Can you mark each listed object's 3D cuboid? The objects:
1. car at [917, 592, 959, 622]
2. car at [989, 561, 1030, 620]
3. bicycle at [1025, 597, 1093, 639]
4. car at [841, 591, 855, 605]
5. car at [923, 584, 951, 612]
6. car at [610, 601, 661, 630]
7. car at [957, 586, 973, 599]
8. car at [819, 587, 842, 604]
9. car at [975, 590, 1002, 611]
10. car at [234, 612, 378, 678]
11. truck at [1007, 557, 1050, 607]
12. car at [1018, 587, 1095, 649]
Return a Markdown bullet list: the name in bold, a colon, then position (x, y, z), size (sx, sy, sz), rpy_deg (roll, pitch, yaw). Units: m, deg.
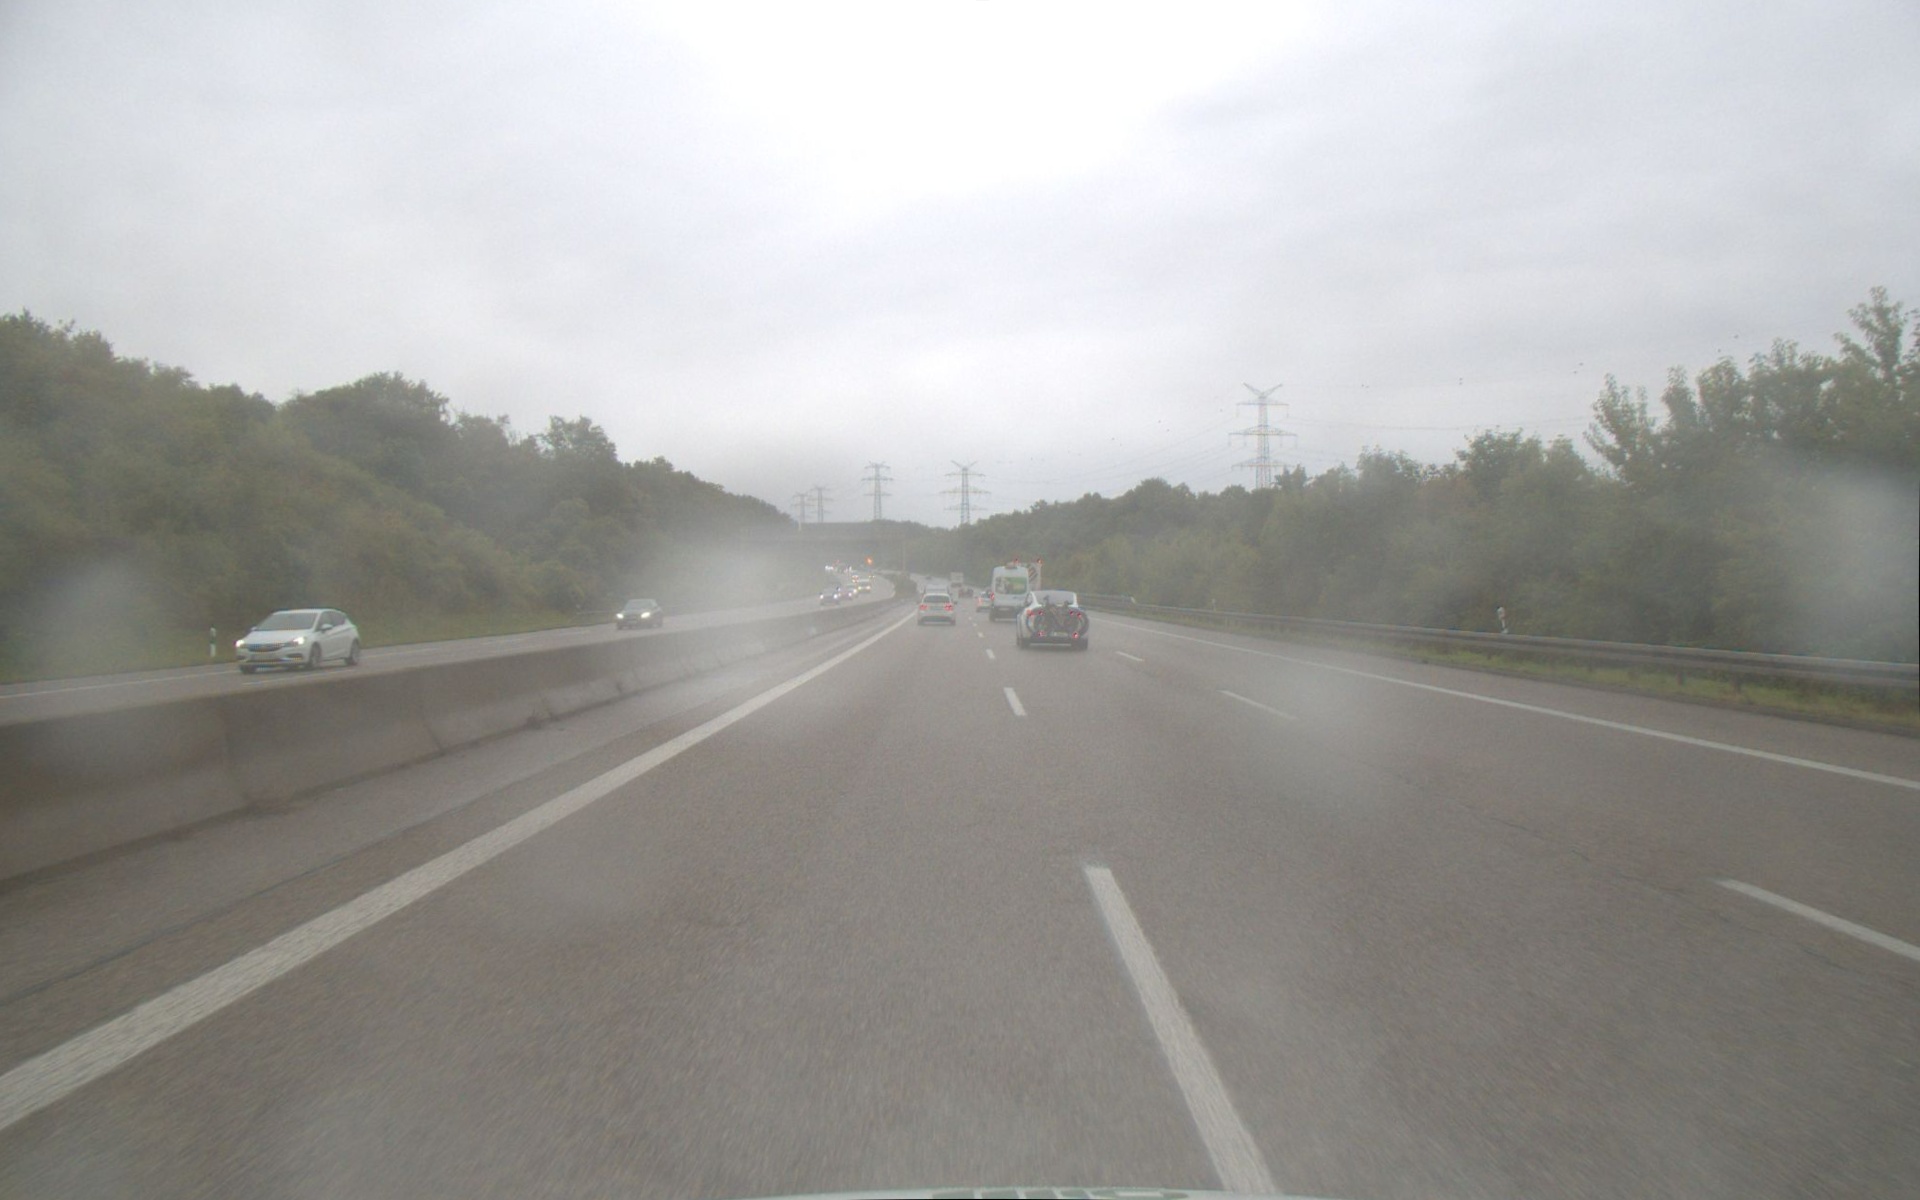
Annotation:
- **car**: position (-1.011, 0.307, 75.691), size (1.829, 1.310, 3.999), rpy_deg (-1, 0, -1)
- **car**: position (2.522, -0.478, 84.914), size (1.952, 2.914, 4.000), rpy_deg (-1, 0, 0)
- **bicycle**: position (2.630, 0.479, 44.054), size (1.718, 1.109, 0.913), rpy_deg (0, -1, -2)
- **car**: position (-15.709, -0.293, 232.031), size (1.706, 1.937, 4.529), rpy_deg (-1, 0, -1)
- **car**: position (-1.579, -0.144, 111.967), size (1.808, 1.803, 3.999), rpy_deg (1, -1, -1)
- **car**: position (-16.675, 0.797, 85.108), size (1.762, 1.409, 4.467), rpy_deg (-1, 0, -1)
- **car**: position (0.618, -1.011, 212.634), size (1.953, 1.601, 3.999), rpy_deg (-1, 0, -1)
- **car**: position (-13.349, -0.473, 170.673), size (1.953, 1.717, 4.916), rpy_deg (-1, 0, -1)
- **car**: position (2.046, 0.032, 118.420), size (1.819, 1.447, 4.000), rpy_deg (0, 1, 0)
- **car**: position (-16.169, 1.064, 41.151), size (1.761, 1.475, 4.628), rpy_deg (-1, 0, -1)
- **truck**: position (6.231, -1.703, 152.855), size (3.529, 4.407, 13.201), rpy_deg (0, 1, 0)
- **car**: position (2.685, 0.468, 47.004), size (1.822, 1.595, 4.963), rpy_deg (1, 1, -1)
